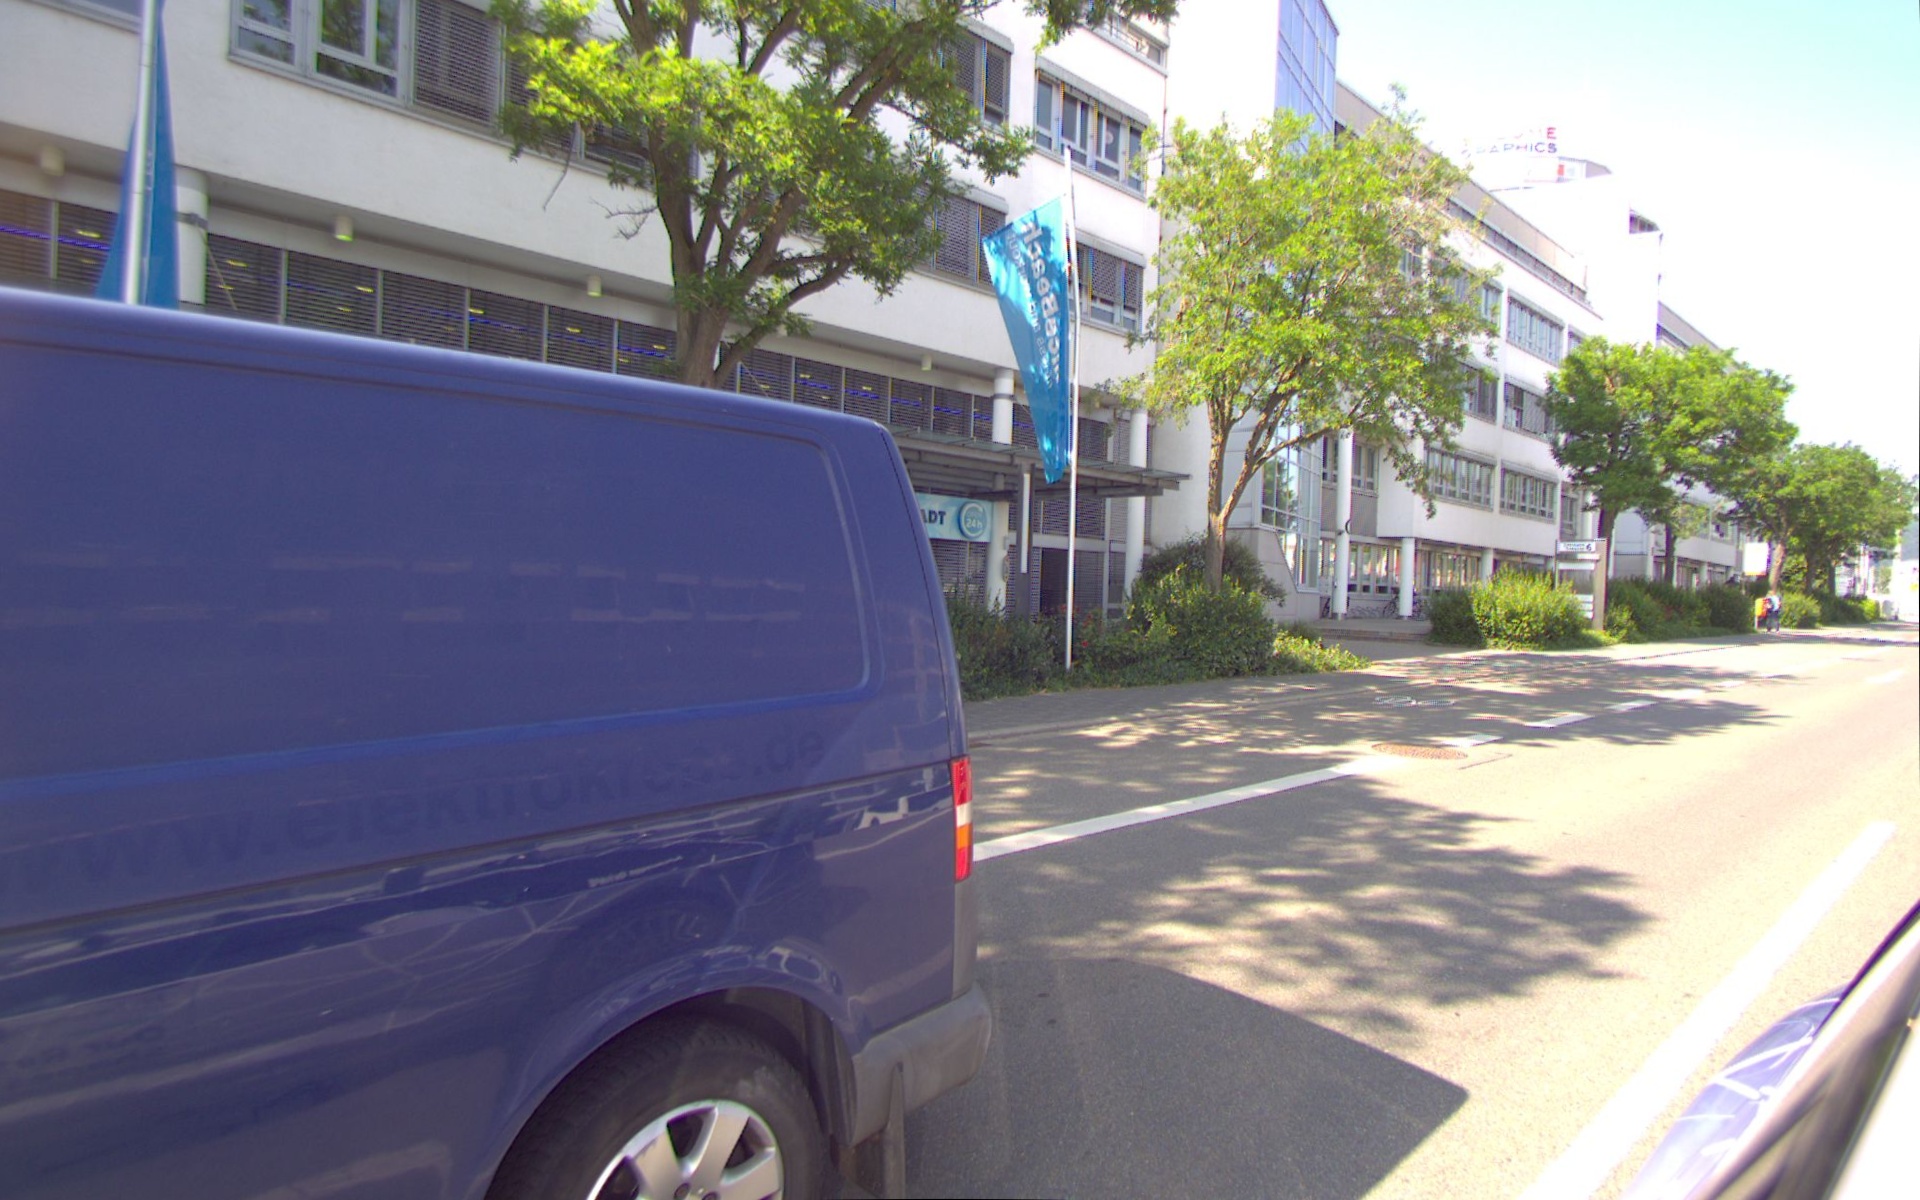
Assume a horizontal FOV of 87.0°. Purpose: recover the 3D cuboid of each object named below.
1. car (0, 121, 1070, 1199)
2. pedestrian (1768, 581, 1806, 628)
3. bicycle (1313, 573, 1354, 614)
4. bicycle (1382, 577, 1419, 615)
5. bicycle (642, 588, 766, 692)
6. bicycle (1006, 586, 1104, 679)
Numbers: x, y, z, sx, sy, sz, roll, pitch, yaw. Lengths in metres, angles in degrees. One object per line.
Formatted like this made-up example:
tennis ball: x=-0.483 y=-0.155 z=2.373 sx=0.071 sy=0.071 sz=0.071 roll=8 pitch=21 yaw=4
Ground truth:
car: x=-2.205 y=0.407 z=1.570 sx=4.806 sy=1.972 sz=1.997 roll=-1 pitch=2 yaw=-41
pedestrian: x=35.138 y=0.172 z=42.978 sx=1.267 sy=1.909 sz=0.942 roll=0 pitch=4 yaw=-41
bicycle: x=12.886 y=-0.216 z=34.884 sx=1.852 sy=1.371 sz=0.506 roll=0 pitch=1 yaw=-41
bicycle: x=16.326 y=-0.148 z=37.507 sx=1.852 sy=1.371 sz=0.506 roll=0 pitch=1 yaw=-41
bicycle: x=-3.650 y=0.534 z=14.370 sx=1.868 sy=1.346 sz=0.501 roll=2 pitch=1 yaw=30
bicycle: x=1.491 y=0.476 z=15.606 sx=0.504 sy=1.346 sz=1.856 roll=2 pitch=1 yaw=41
